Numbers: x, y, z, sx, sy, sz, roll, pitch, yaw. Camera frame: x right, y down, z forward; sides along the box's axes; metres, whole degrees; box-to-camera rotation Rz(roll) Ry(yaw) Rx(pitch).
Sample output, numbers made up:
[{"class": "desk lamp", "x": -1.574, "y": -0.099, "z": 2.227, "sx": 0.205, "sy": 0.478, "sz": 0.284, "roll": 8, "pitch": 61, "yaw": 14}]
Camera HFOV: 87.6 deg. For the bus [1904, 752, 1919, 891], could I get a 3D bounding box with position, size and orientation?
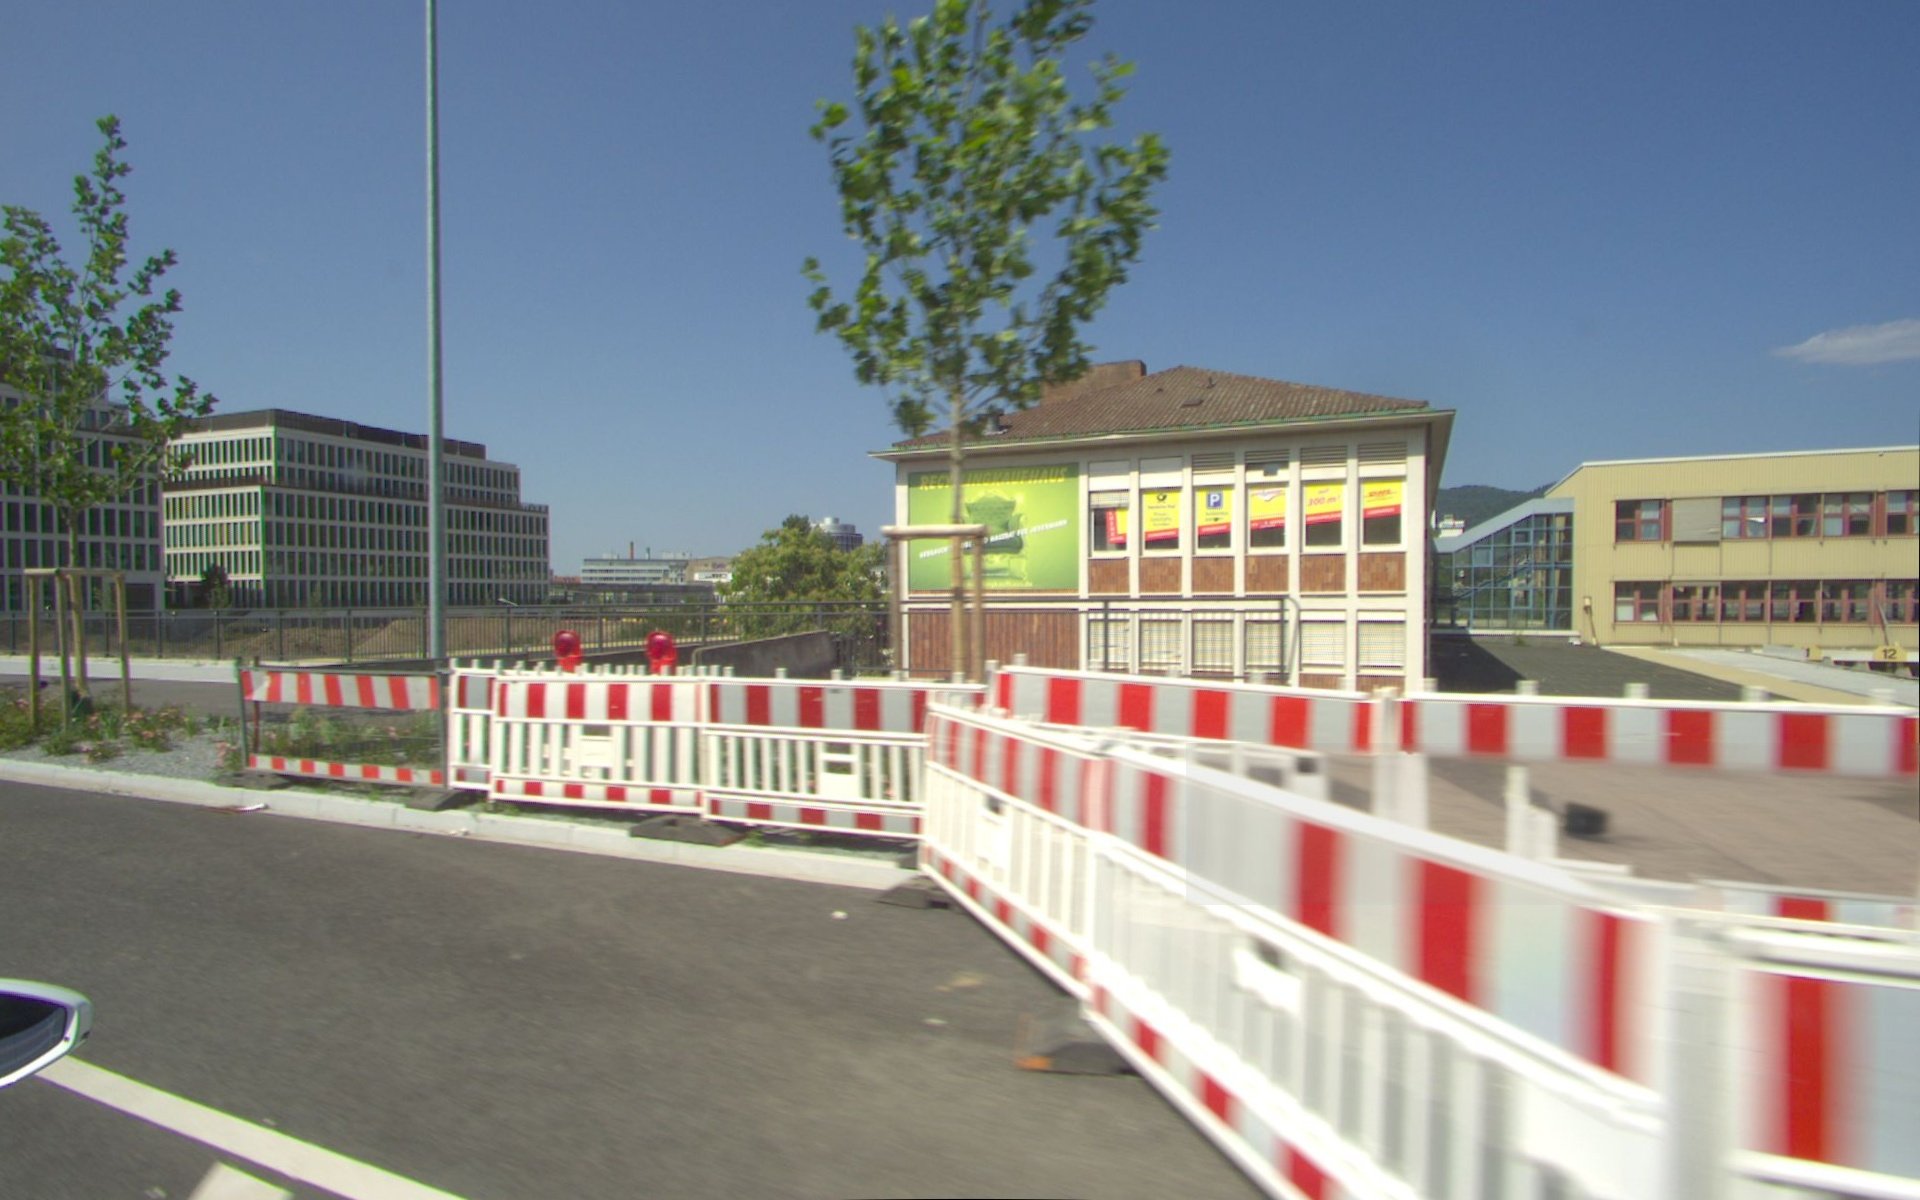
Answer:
[{"class": "bus", "x": 33.368, "y": 6.200, "z": 27.972, "sx": 12.893, "sy": 3.813, "sz": 2.664, "roll": 0, "pitch": 0, "yaw": -8}]
